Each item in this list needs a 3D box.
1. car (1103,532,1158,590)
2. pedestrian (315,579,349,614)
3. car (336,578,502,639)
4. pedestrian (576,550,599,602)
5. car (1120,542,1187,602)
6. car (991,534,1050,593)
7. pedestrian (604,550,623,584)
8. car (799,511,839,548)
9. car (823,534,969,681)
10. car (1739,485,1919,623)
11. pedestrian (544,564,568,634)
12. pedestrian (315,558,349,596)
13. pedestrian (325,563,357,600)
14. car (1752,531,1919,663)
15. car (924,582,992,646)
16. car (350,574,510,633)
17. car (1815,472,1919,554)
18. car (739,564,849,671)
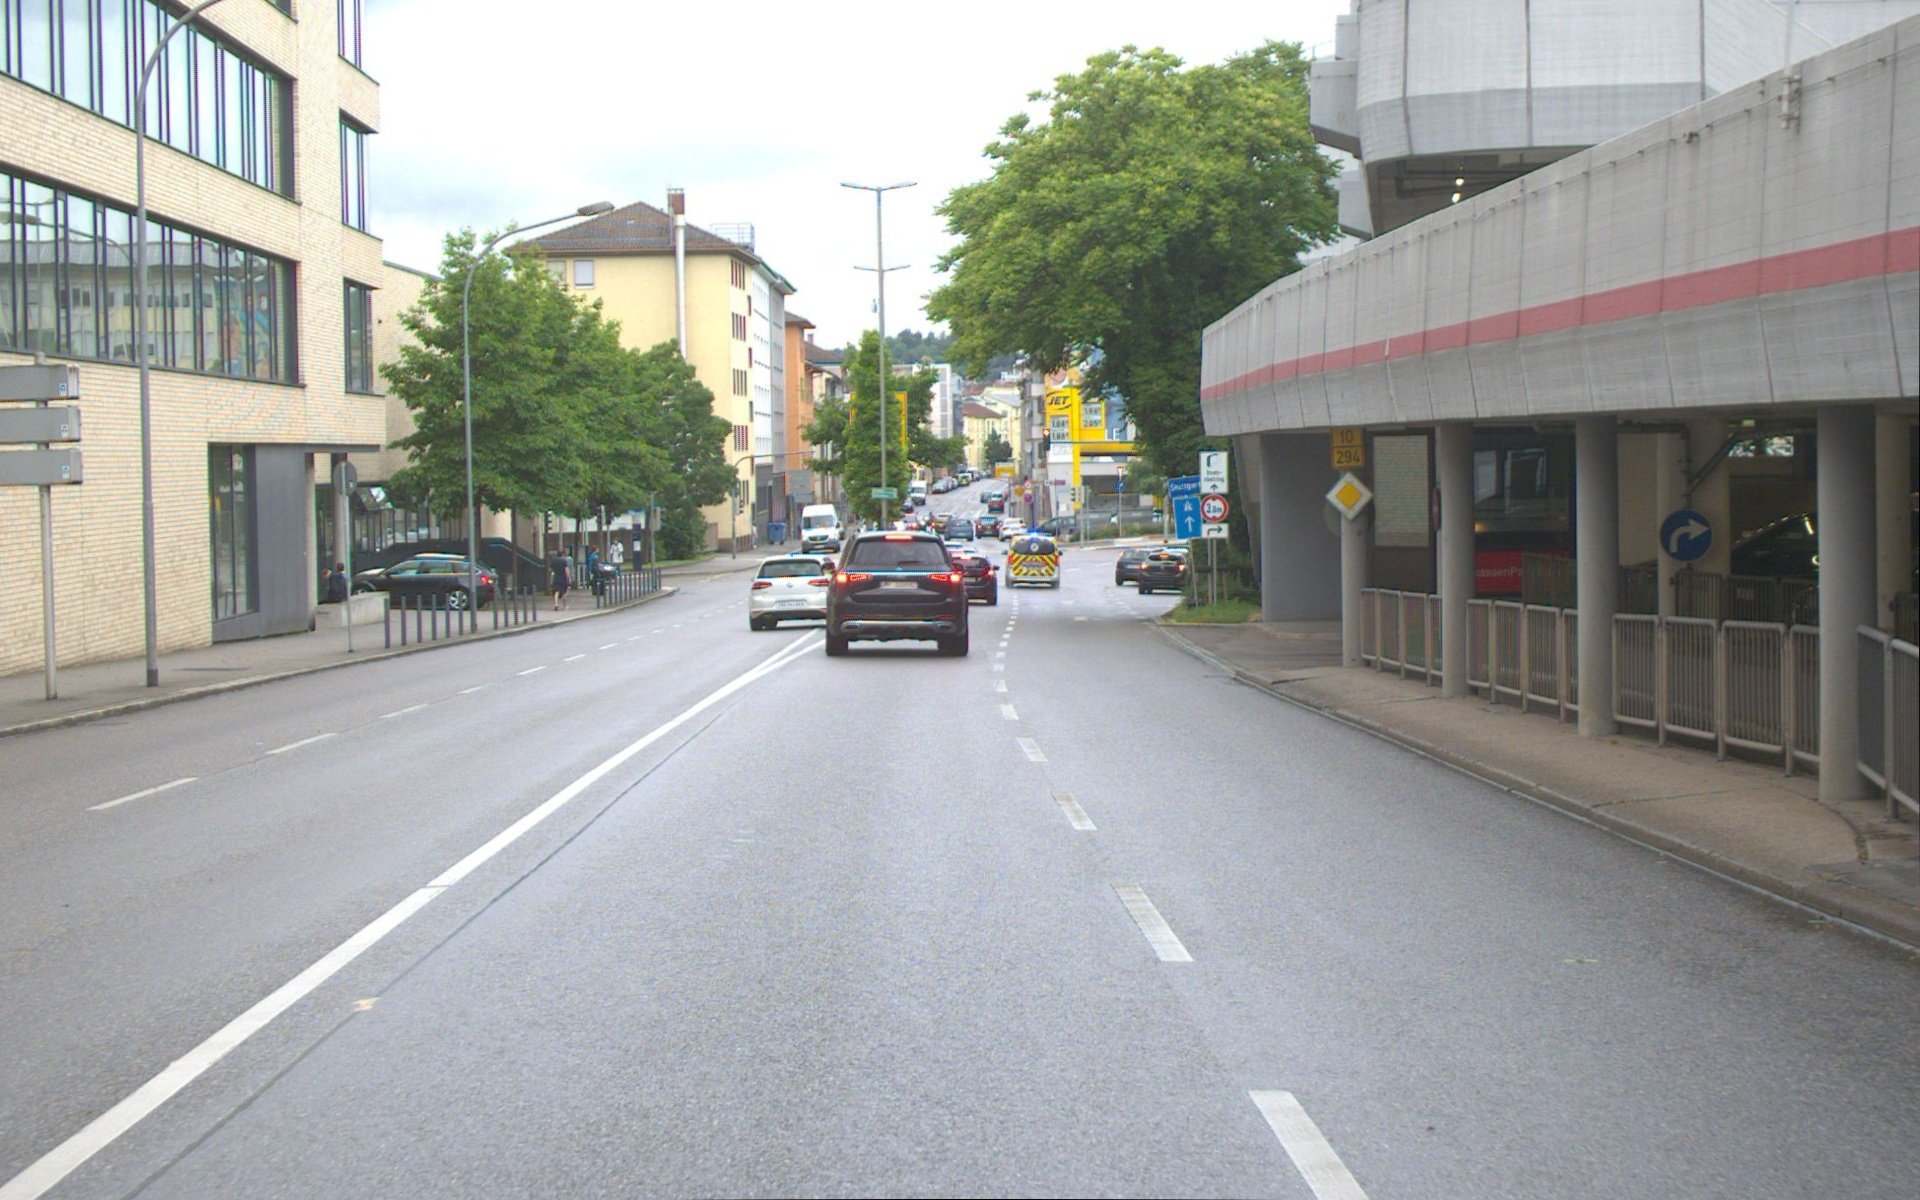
[{"bbox_3d":[6.492,-1.457,130.654,1.994,2.121,3.999,1,0,3],"label":"car"},{"bbox_3d":[-14.247,-0.084,77.992,0.598,0.783,0.760,1,0,1],"label":"pedestrian"},{"bbox_3d":[-15.249,0.223,97.045,4.467,1.581,2.000,-1,1,-5],"label":"car"},{"bbox_3d":[-12.763,-0.821,117.805,0.688,1.720,0.754,1,-2,0],"label":"pedestrian"},{"bbox_3d":[6.623,-0.974,118.310,1.993,2.007,4.000,1,1,-1],"label":"car"},{"bbox_3d":[2.173,-1.302,124.196,1.993,2.007,4.000,1,0,0],"label":"car"},{"bbox_3d":[-15.126,-1.435,150.063,0.711,1.457,0.598,1,0,0],"label":"pedestrian"},{"bbox_3d":[-7.664,-3.815,186.900,1.993,1.869,5.142,1,0,-1],"label":"car"},{"bbox_3d":[-0.908,0.113,49.929,1.993,2.007,4.000,1,0,0],"label":"car"},{"bbox_3d":[12.068,-0.532,42.611,4.578,1.634,1.821,1,0,10],"label":"car"},{"bbox_3d":[-11.621,-0.032,98.866,0.588,2.007,0.749,1,0,-1],"label":"pedestrian"},{"bbox_3d":[-14.945,-0.549,81.782,0.681,0.883,0.524,1,0,1],"label":"pedestrian"},{"bbox_3d":[-14.197,-0.428,78.822,0.586,0.842,0.727,0,0,1],"label":"pedestrian"},{"bbox_3d":[11.636,-0.075,41.804,3.724,1.500,1.806,-2,1,9],"label":"car"},{"bbox_3d":[-0.077,0.381,94.604,1.703,1.710,3.443,1,0,-2],"label":"car"},{"bbox_3d":[-15.314,0.097,99.488,4.415,1.568,2.001,1,2,-4],"label":"car"},{"bbox_3d":[20.202,-1.816,72.610,3.989,1.634,1.999,1,0,10],"label":"car"},{"bbox_3d":[-3.262,0.346,68.323,1.993,2.007,4.000,1,0,0],"label":"car"}]
